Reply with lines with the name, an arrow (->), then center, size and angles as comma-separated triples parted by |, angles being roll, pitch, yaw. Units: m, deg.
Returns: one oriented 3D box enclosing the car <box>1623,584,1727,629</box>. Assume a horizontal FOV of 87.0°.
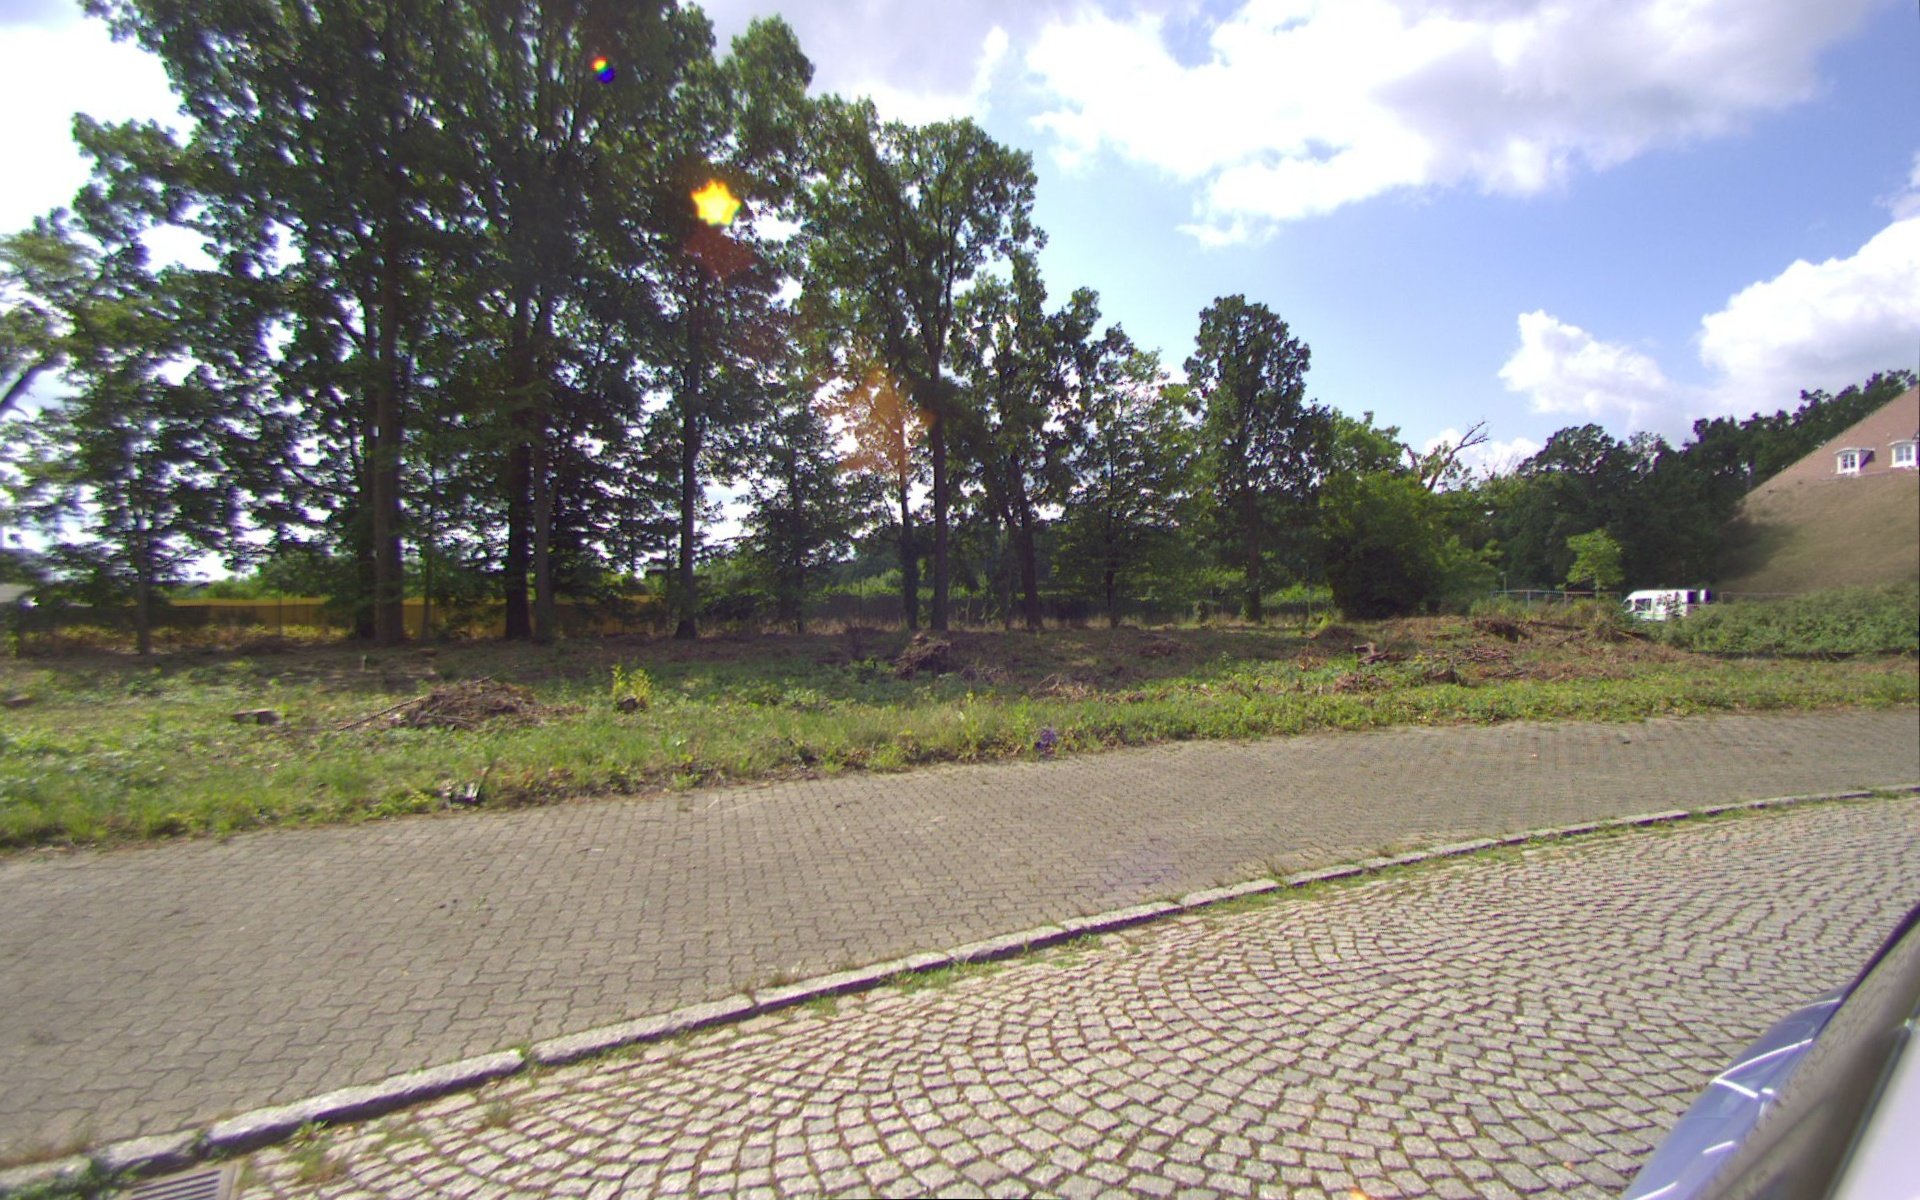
car -> 43.927, 0.390, 62.366 | 2.202, 2.624, 5.443 | -1, -1, -5
